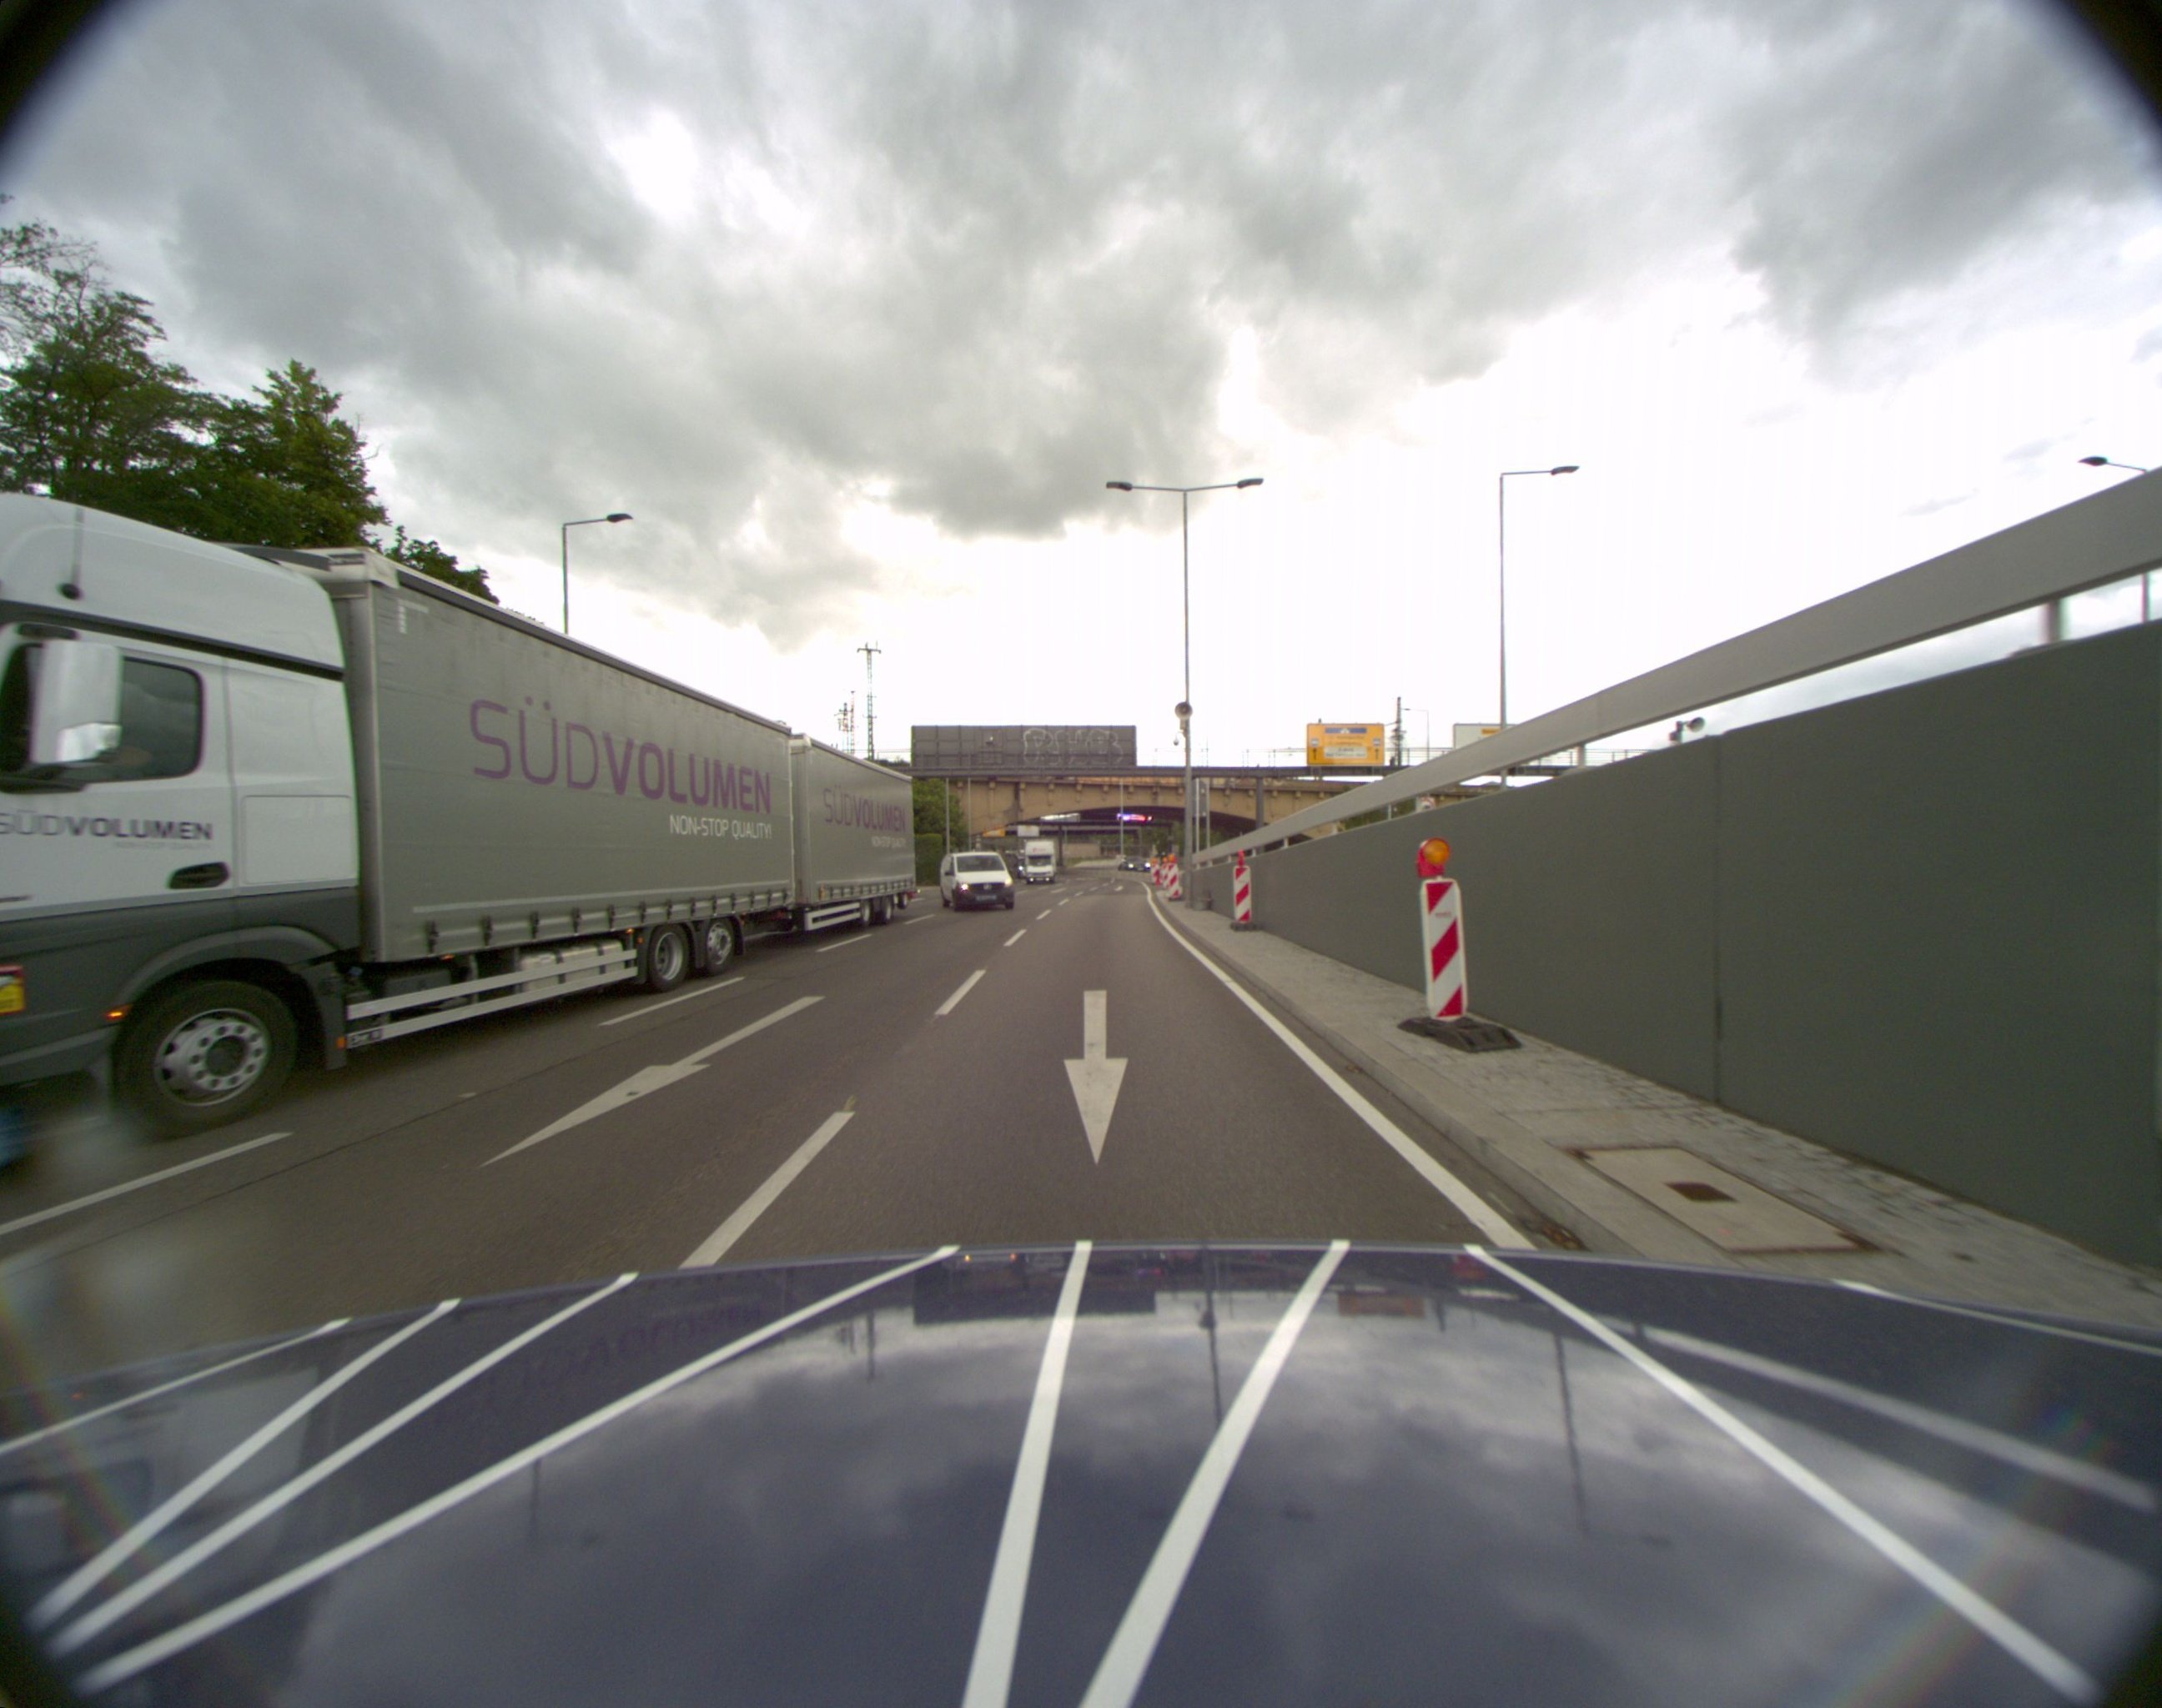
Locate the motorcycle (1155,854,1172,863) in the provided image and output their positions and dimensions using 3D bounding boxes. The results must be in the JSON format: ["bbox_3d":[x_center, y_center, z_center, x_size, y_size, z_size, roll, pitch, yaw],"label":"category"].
[{"bbox_3d":[8.983,0.513,83.065,0.668,0.911,2.390,-2,-1,-25],"label":"motorcycle"}]

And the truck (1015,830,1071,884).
[{"bbox_3d":[-2.702,0.127,56.949,3.032,3.566,8.950,-4,1,3],"label":"truck"}]

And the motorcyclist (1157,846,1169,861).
[{"bbox_3d":[8.961,-0.003,83.065,0.668,1.596,1.101,-2,0,-25],"label":"motorcyclist"}]

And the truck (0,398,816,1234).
[{"bbox_3d":[-7.043,-0.173,8.714,3.733,4.117,10.983,-2,0,2],"label":"truck"}]

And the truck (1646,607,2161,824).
[{"bbox_3d":[20.798,-2.991,20.320,2.740,3.369,10.619,-3,-2,-4],"label":"truck"}]

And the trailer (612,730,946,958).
[{"bbox_3d":[-6.626,-0.210,19.691,3.733,4.117,10.984,-2,0,2],"label":"trailer"}]

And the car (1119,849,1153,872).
[{"bbox_3d":[4.601,0.548,64.631,1.869,1.827,4.202,-2,0,-10],"label":"car"}]

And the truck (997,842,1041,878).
[{"bbox_3d":[-6.777,0.609,81.418,2.577,3.548,9.100,-2,1,-18],"label":"truck"}]

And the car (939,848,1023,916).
[{"bbox_3d":[-3.515,0.869,25.754,2.001,1.978,5.192,-2,0,-16],"label":"car"}]
